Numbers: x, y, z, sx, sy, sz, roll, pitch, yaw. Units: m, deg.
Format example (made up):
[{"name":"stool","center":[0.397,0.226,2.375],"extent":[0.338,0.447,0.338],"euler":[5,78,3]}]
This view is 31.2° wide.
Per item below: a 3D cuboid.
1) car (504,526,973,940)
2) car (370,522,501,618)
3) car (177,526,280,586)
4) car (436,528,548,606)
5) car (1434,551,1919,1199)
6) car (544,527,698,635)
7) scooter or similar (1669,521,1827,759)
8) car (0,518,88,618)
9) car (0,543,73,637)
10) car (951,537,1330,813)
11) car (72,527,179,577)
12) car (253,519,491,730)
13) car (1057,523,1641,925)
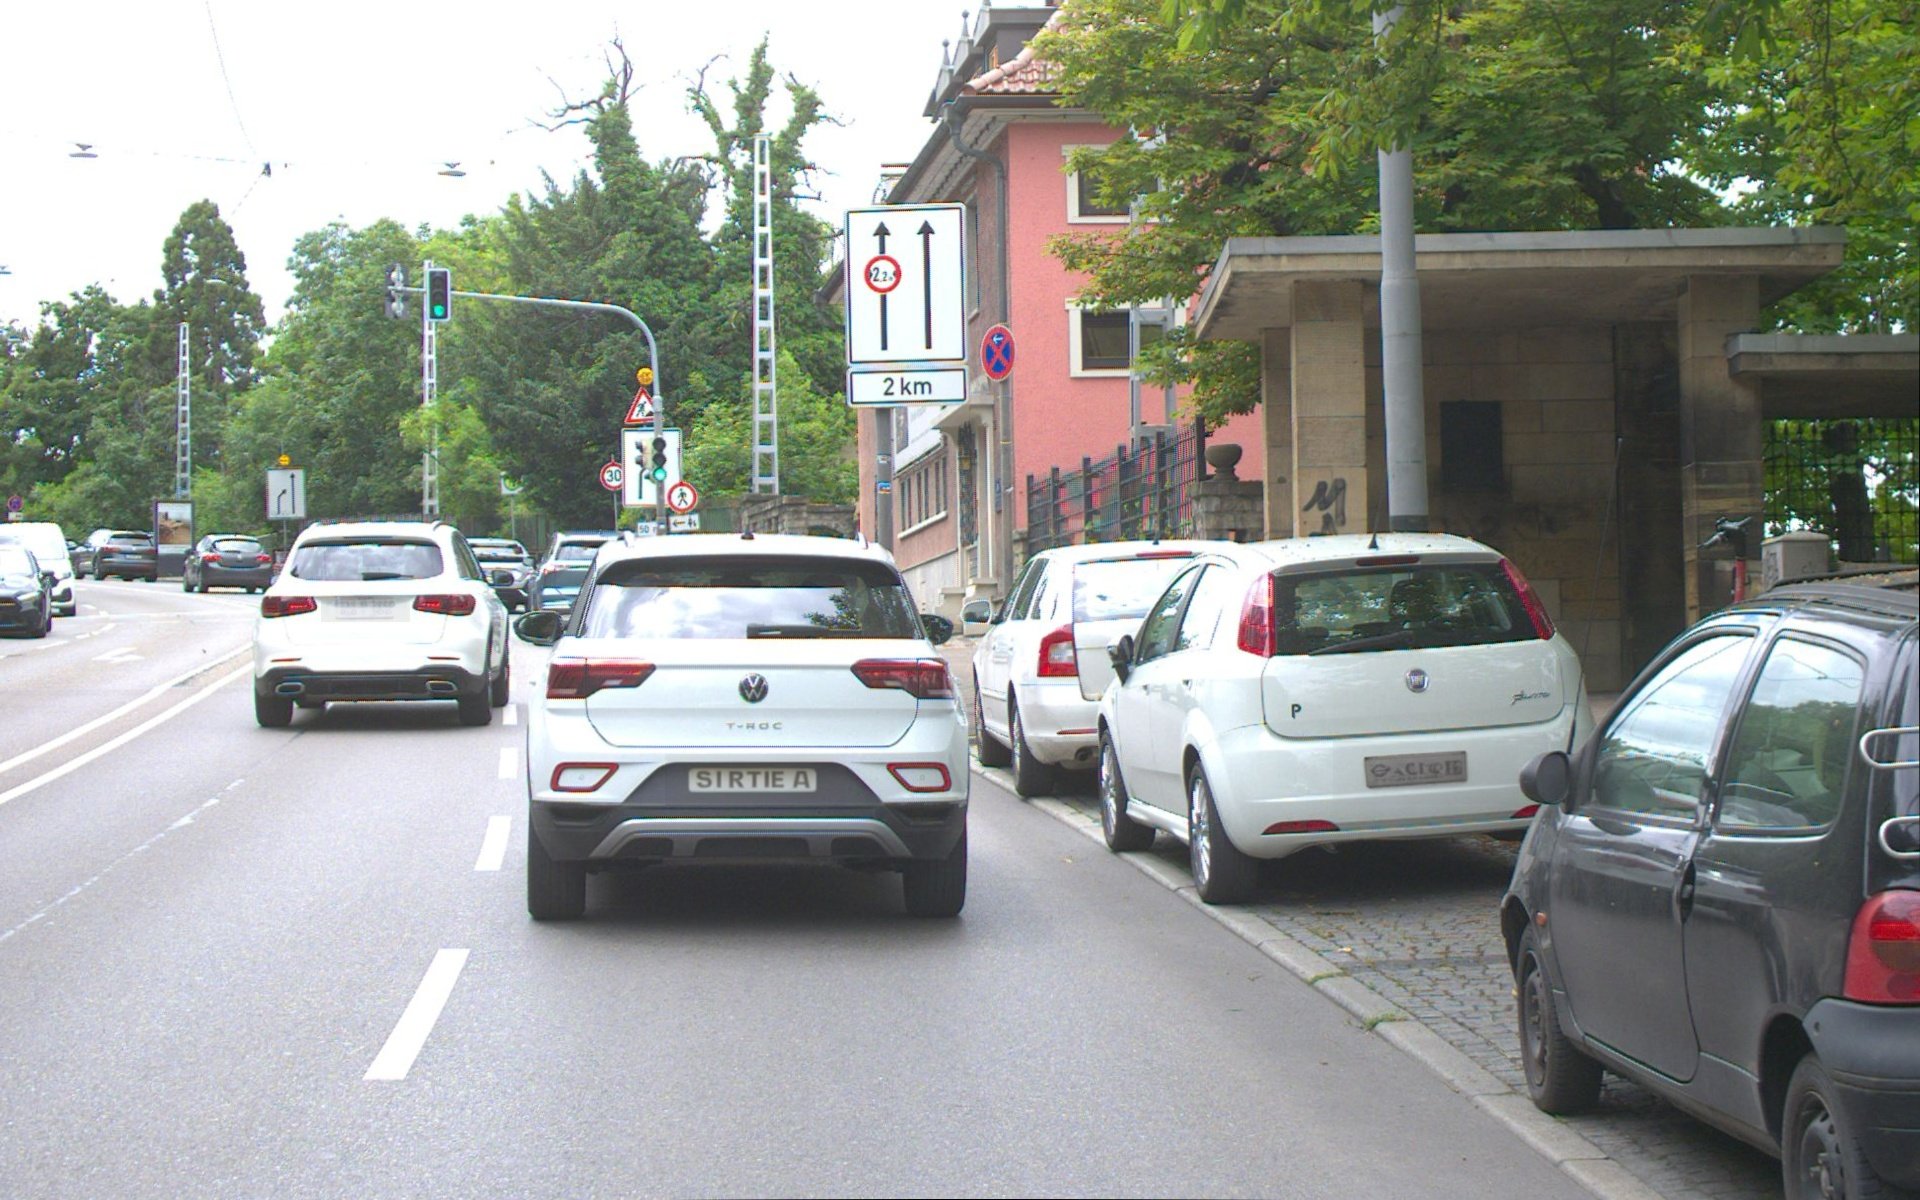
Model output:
[{"name":"car","center":[-1.070,0.503,14.990],"extent":[1.757,1.550,3.796],"euler":[1,0,-7]},{"name":"car","center":[-8.900,-0.529,58.608],"extent":[1.993,1.551,4.151],"euler":[1,1,-6]},{"name":"car","center":[-18.183,-1.091,85.400],"extent":[1.780,1.449,4.001],"euler":[0,0,-23]},{"name":"car","center":[-8.992,-0.625,66.310],"extent":[1.993,1.445,4.151],"euler":[0,0,-6]},{"name":"car","center":[2.280,0.624,8.067],"extent":[1.561,1.417,3.425],"euler":[-3,1,-4]},{"name":"car","center":[-4.675,-0.266,47.889],"extent":[1.993,1.409,4.151],"euler":[-1,0,-4]},{"name":"scooter or similar","center":[4.363,0.204,19.080],"extent":[0.516,1.256,1.168],"euler":[-3,1,-2]},{"name":"car","center":[-18.096,-0.589,67.039],"extent":[1.892,1.842,4.397],"euler":[0,-1,-11]},{"name":"car","center":[-14.953,-0.161,53.700],"extent":[1.562,1.397,4.254],"euler":[-2,1,-7]},{"name":"car","center":[0.993,0.372,21.085],"extent":[1.675,1.456,4.366],"euler":[-2,1,-5]},{"name":"car","center":[-27.317,-1.550,112.474],"extent":[1.994,1.570,4.150],"euler":[0,0,-35]},{"name":"car","center":[-4.815,0.182,28.561],"extent":[1.757,1.604,3.796],"euler":[1,0,-7]},{"name":"car","center":[1.610,0.444,15.649],"extent":[1.715,1.466,4.039],"euler":[-4,2,-6]}]
